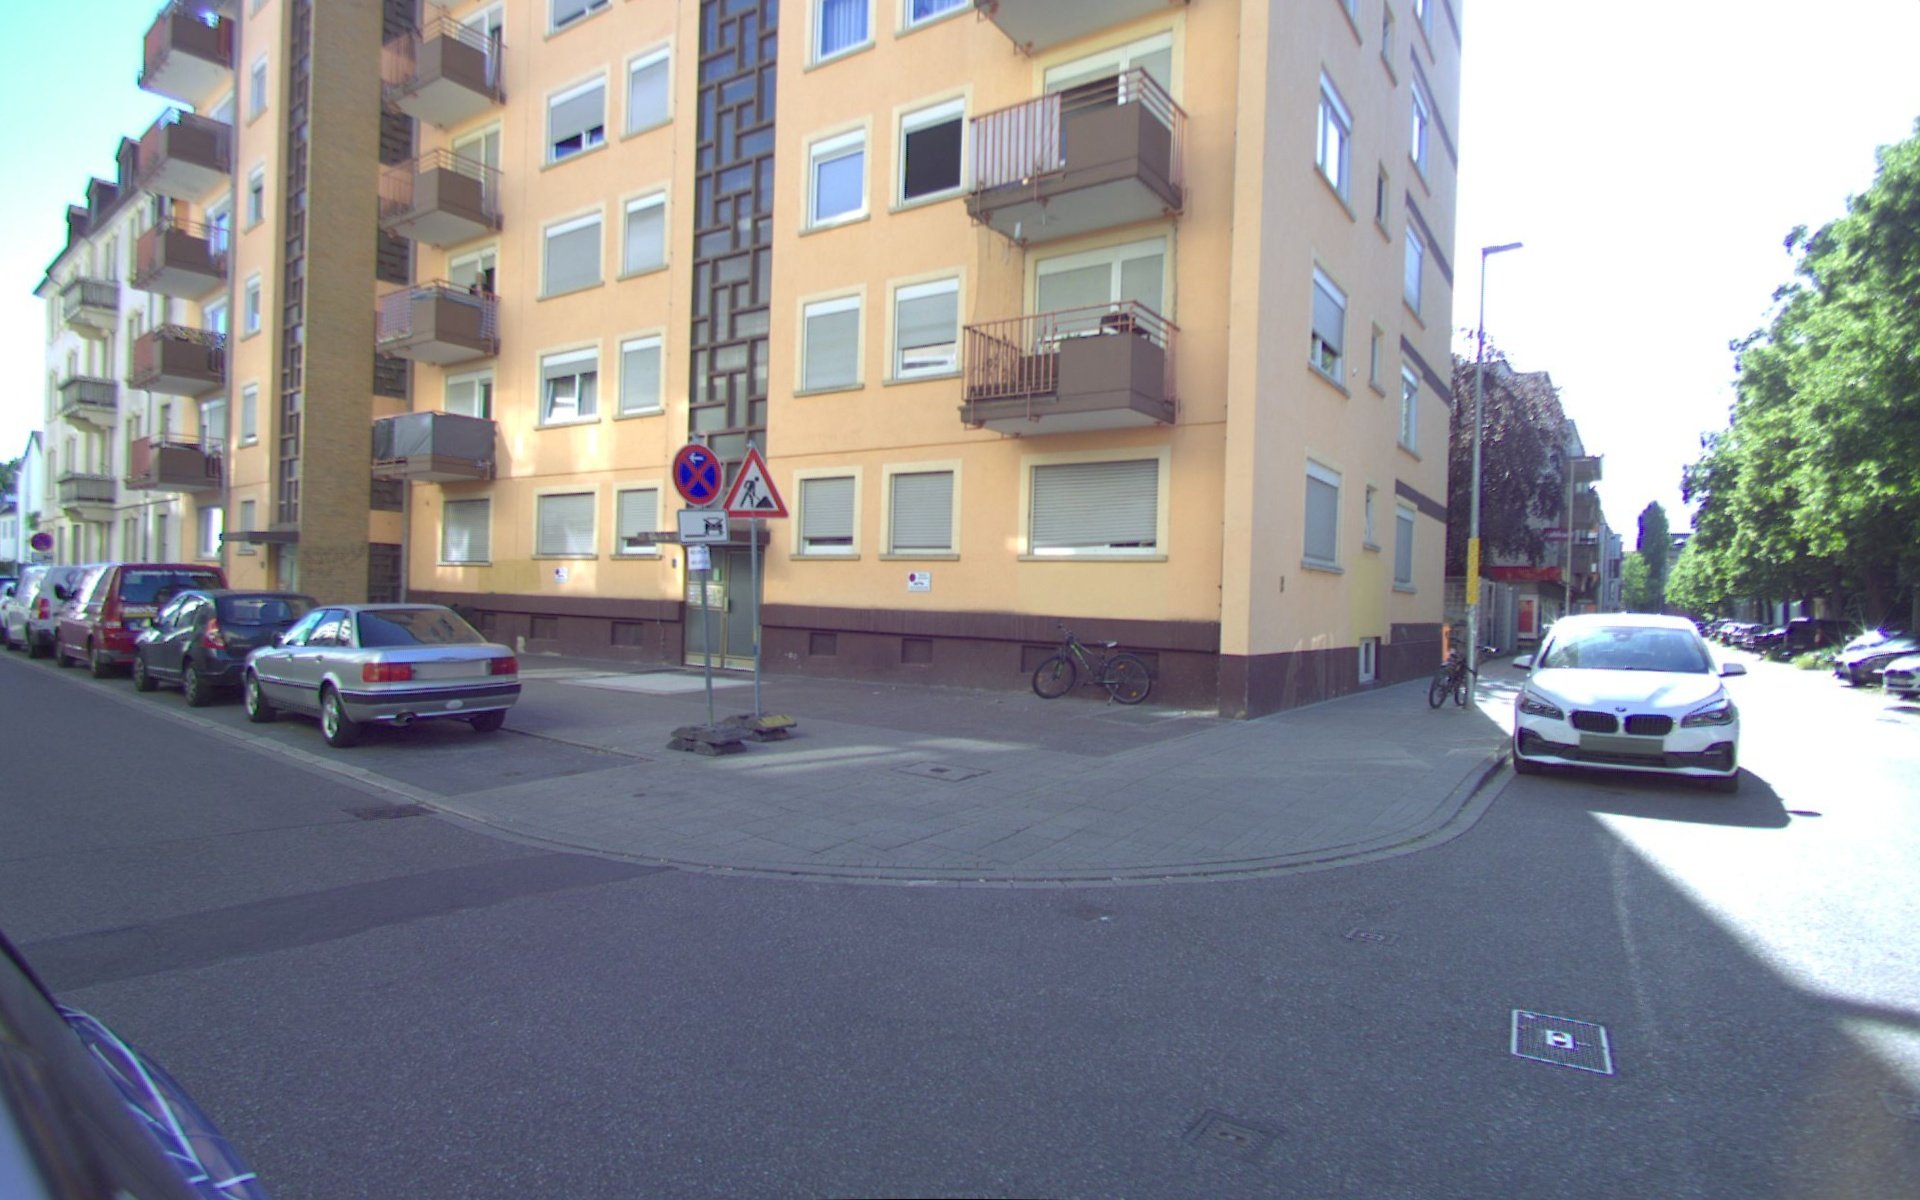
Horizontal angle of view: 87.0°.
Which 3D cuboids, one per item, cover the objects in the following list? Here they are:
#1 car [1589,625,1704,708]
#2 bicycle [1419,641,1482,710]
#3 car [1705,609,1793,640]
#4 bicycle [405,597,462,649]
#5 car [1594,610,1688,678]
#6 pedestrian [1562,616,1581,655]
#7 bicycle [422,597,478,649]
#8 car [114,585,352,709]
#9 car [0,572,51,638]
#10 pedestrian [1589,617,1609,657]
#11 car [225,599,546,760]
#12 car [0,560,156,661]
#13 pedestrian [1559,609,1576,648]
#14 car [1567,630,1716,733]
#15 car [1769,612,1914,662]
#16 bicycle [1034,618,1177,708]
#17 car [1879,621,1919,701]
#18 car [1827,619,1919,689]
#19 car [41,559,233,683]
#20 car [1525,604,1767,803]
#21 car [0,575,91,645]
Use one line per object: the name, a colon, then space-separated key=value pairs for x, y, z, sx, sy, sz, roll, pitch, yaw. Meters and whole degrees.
car: x=13.600 y=1.227 z=20.211 sx=1.722 sy=1.415 sz=4.165 roll=1 pitch=-1 yaw=33
bicycle: x=7.581 y=1.139 z=15.611 sx=0.399 sy=0.973 sz=1.672 roll=5 pitch=1 yaw=41
car: x=44.468 y=1.341 z=57.130 sx=3.586 sy=1.680 sz=1.691 roll=0 pitch=0 yaw=23
bicycle: x=-11.852 y=0.503 z=22.769 sx=1.759 sy=1.122 sz=0.338 roll=1 pitch=0 yaw=35
car: x=19.666 y=1.214 z=29.362 sx=2.102 sy=1.779 sz=4.460 roll=1 pitch=-1 yaw=33
pedestrian: x=26.391 y=1.539 z=43.655 sx=0.660 sy=1.653 sz=0.520 roll=1 pitch=0 yaw=35
bicycle: x=-11.647 y=0.504 z=23.094 sx=1.759 sy=1.122 sz=0.338 roll=1 pitch=0 yaw=35
car: x=-10.520 y=0.593 z=14.558 sx=3.996 sy=1.514 sz=1.745 roll=1 pitch=-1 yaw=39
car: x=-27.393 y=0.102 z=28.735 sx=4.291 sy=1.784 sz=1.745 roll=1 pitch=0 yaw=40
pedestrian: x=27.271 y=1.564 z=43.198 sx=0.660 sy=1.653 sz=0.520 roll=1 pitch=0 yaw=35
car: x=-6.577 y=0.720 z=11.356 sx=4.476 sy=1.388 sz=1.744 roll=1 pitch=1 yaw=41
car: x=-19.357 y=0.169 z=21.962 sx=5.305 sy=1.939 sz=1.956 roll=1 pitch=0 yaw=40
pedestrian: x=30.559 y=1.425 z=50.907 sx=0.660 sy=1.918 sz=0.520 roll=1 pitch=0 yaw=35
car: x=10.610 y=1.165 z=15.914 sx=1.722 sy=1.320 sz=4.165 roll=1 pitch=-1 yaw=33
car: x=31.647 y=1.297 z=36.458 sx=3.586 sy=1.680 sz=1.691 roll=0 pitch=0 yaw=23
bicycle: x=1.916 y=0.806 z=13.501 sx=1.889 sy=1.071 sz=0.499 roll=1 pitch=2 yaw=36
car: x=22.400 y=1.322 z=21.719 sx=3.586 sy=1.680 sz=1.691 roll=0 pitch=0 yaw=23
car: x=24.432 y=1.343 z=25.462 sx=3.586 sy=1.680 sz=1.691 roll=0 pitch=0 yaw=23
car: x=-14.836 y=0.297 z=18.134 sx=4.931 sy=1.939 sz=1.745 roll=1 pitch=0 yaw=40
car: x=7.058 y=0.885 z=10.617 sx=1.722 sy=1.605 sz=4.398 roll=1 pitch=-1 yaw=33
car: x=-23.592 y=0.206 z=25.620 sx=4.291 sy=1.633 sz=1.745 roll=1 pitch=0 yaw=40
